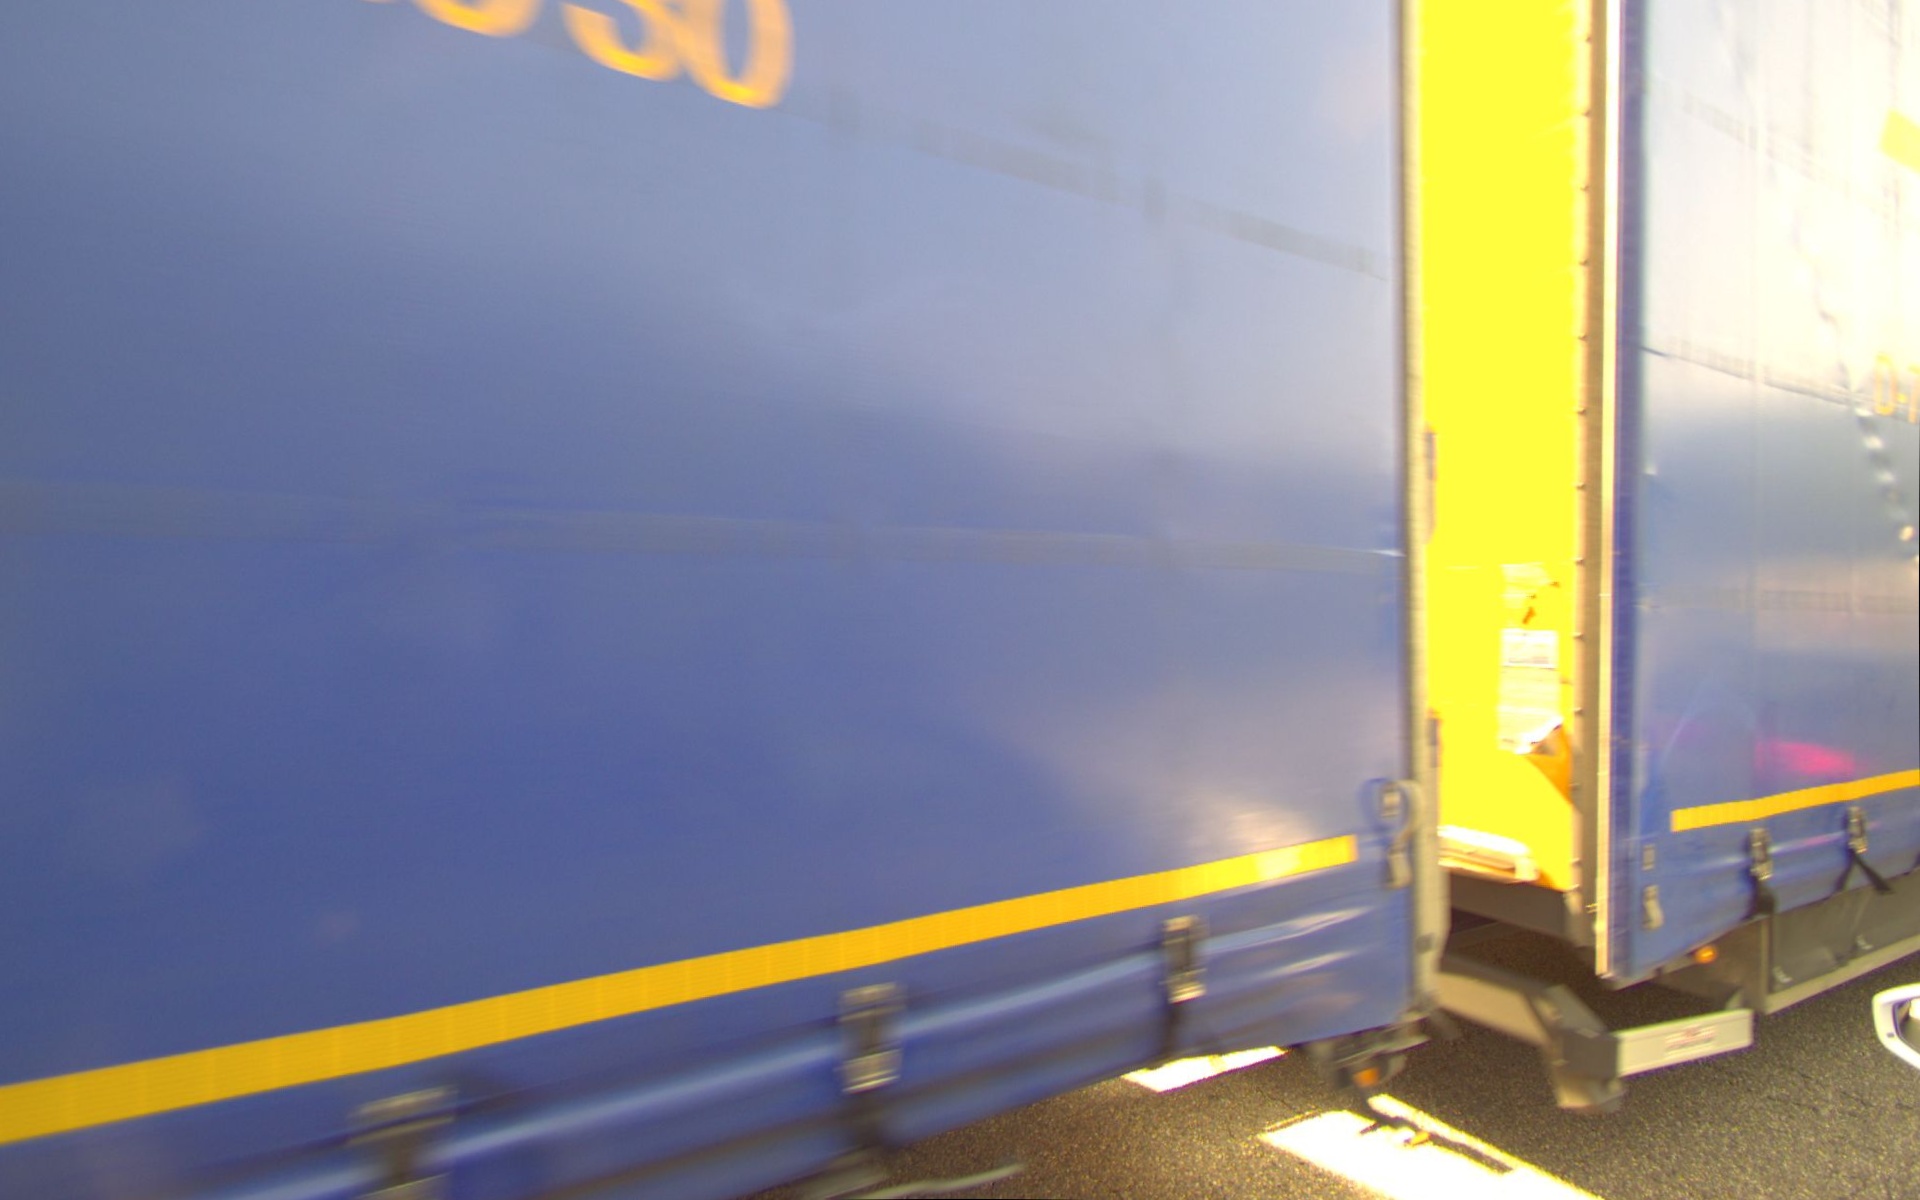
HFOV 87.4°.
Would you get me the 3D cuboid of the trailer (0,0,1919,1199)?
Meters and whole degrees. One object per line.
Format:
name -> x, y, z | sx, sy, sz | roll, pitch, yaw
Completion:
trailer -> 1.911, -0.733, 4.188 | 15.137, 4.477, 3.243 | 0, 1, -31
